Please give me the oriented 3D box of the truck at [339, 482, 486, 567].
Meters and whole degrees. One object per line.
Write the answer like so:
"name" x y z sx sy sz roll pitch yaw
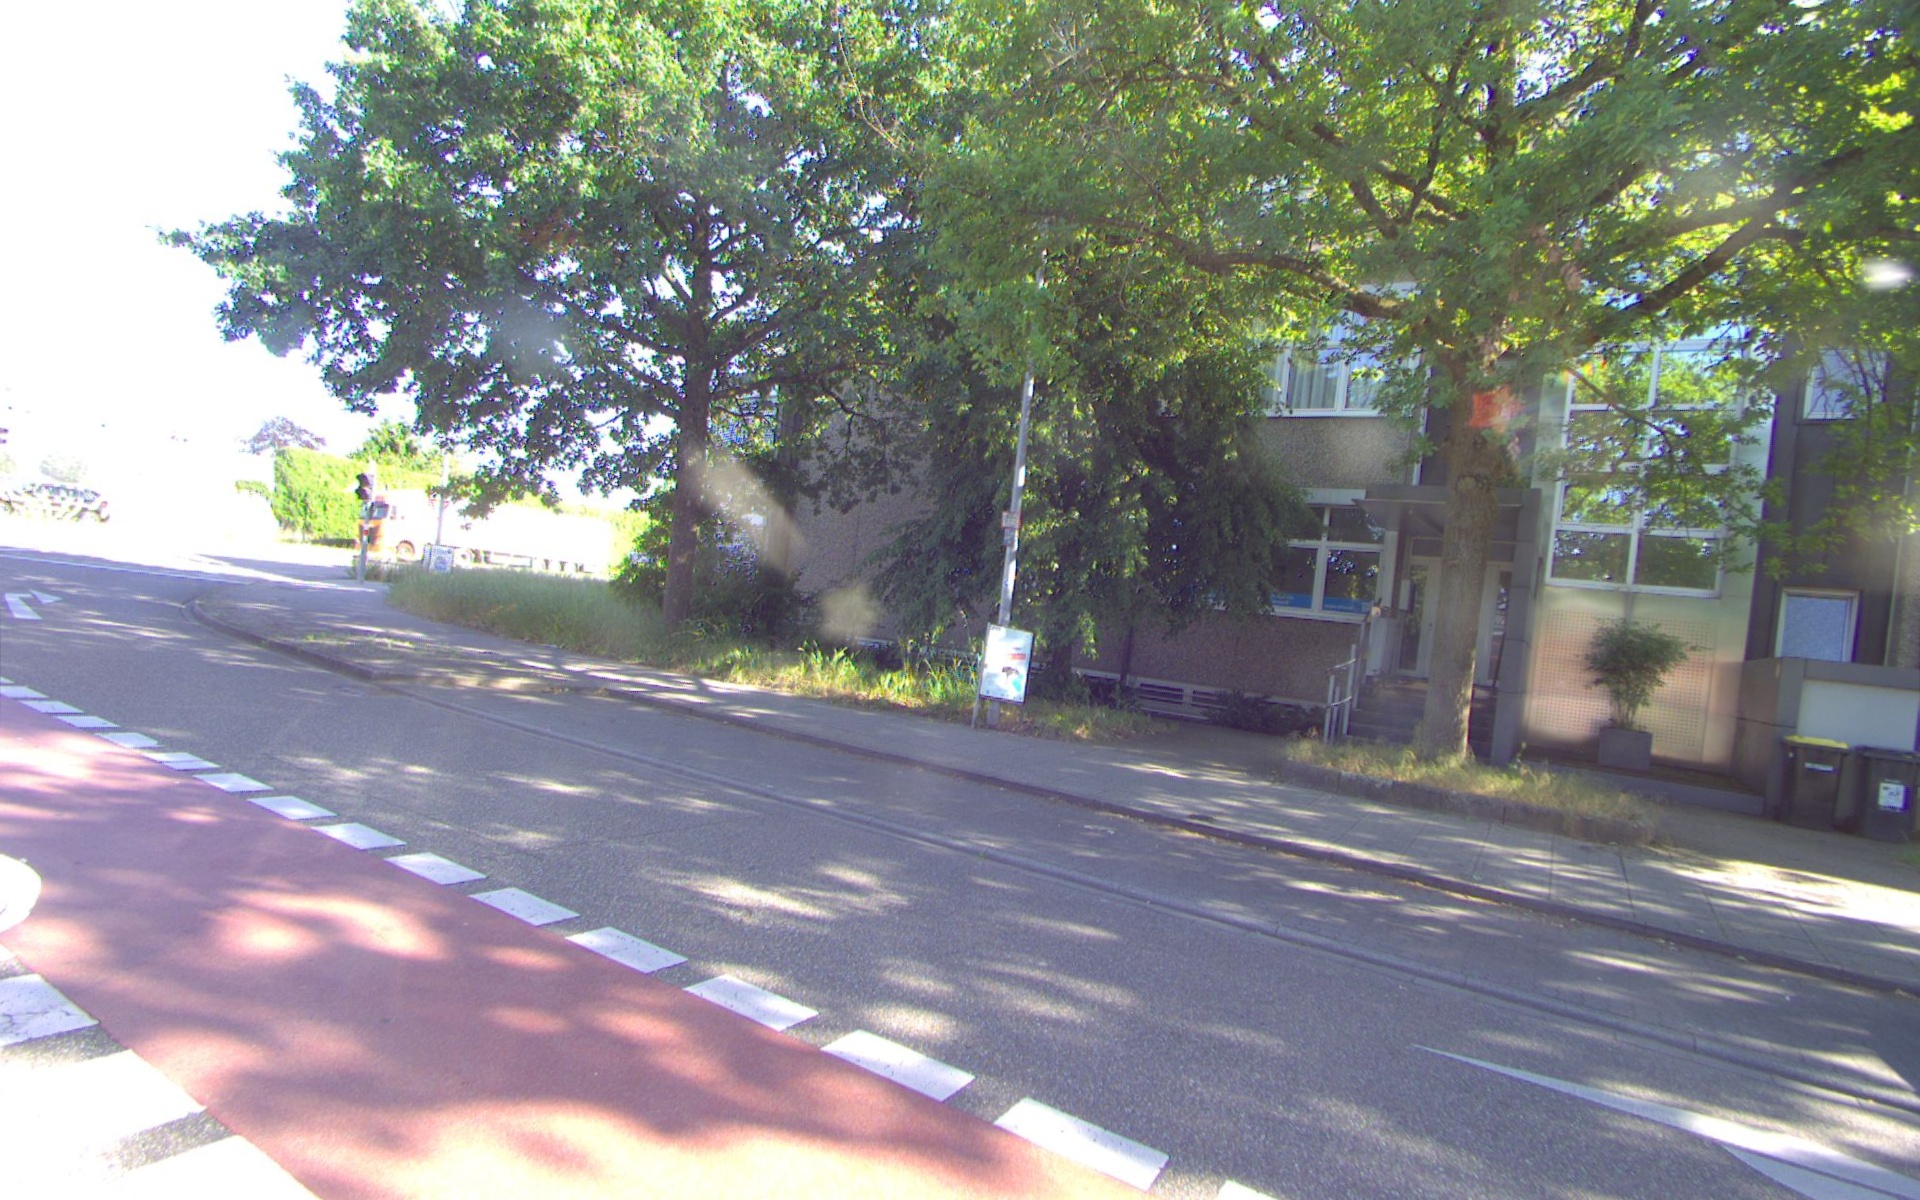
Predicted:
"truck" -31.519 -4.281 58.185 3.379 4.066 6.485 7 2 25

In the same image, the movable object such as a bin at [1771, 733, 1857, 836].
"movable object such as a bin" 10.178 2.184 12.011 0.575 1.070 0.625 7 0 30

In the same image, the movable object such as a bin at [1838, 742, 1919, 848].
"movable object such as a bin" 10.766 2.252 11.717 0.605 1.075 0.634 6 0 30

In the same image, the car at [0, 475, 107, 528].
"car" -34.062 -3.682 36.725 1.737 1.545 4.074 7 1 27

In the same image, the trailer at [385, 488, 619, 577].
"trailer" -28.631 -4.058 64.375 3.379 4.064 14.684 6 1 25
